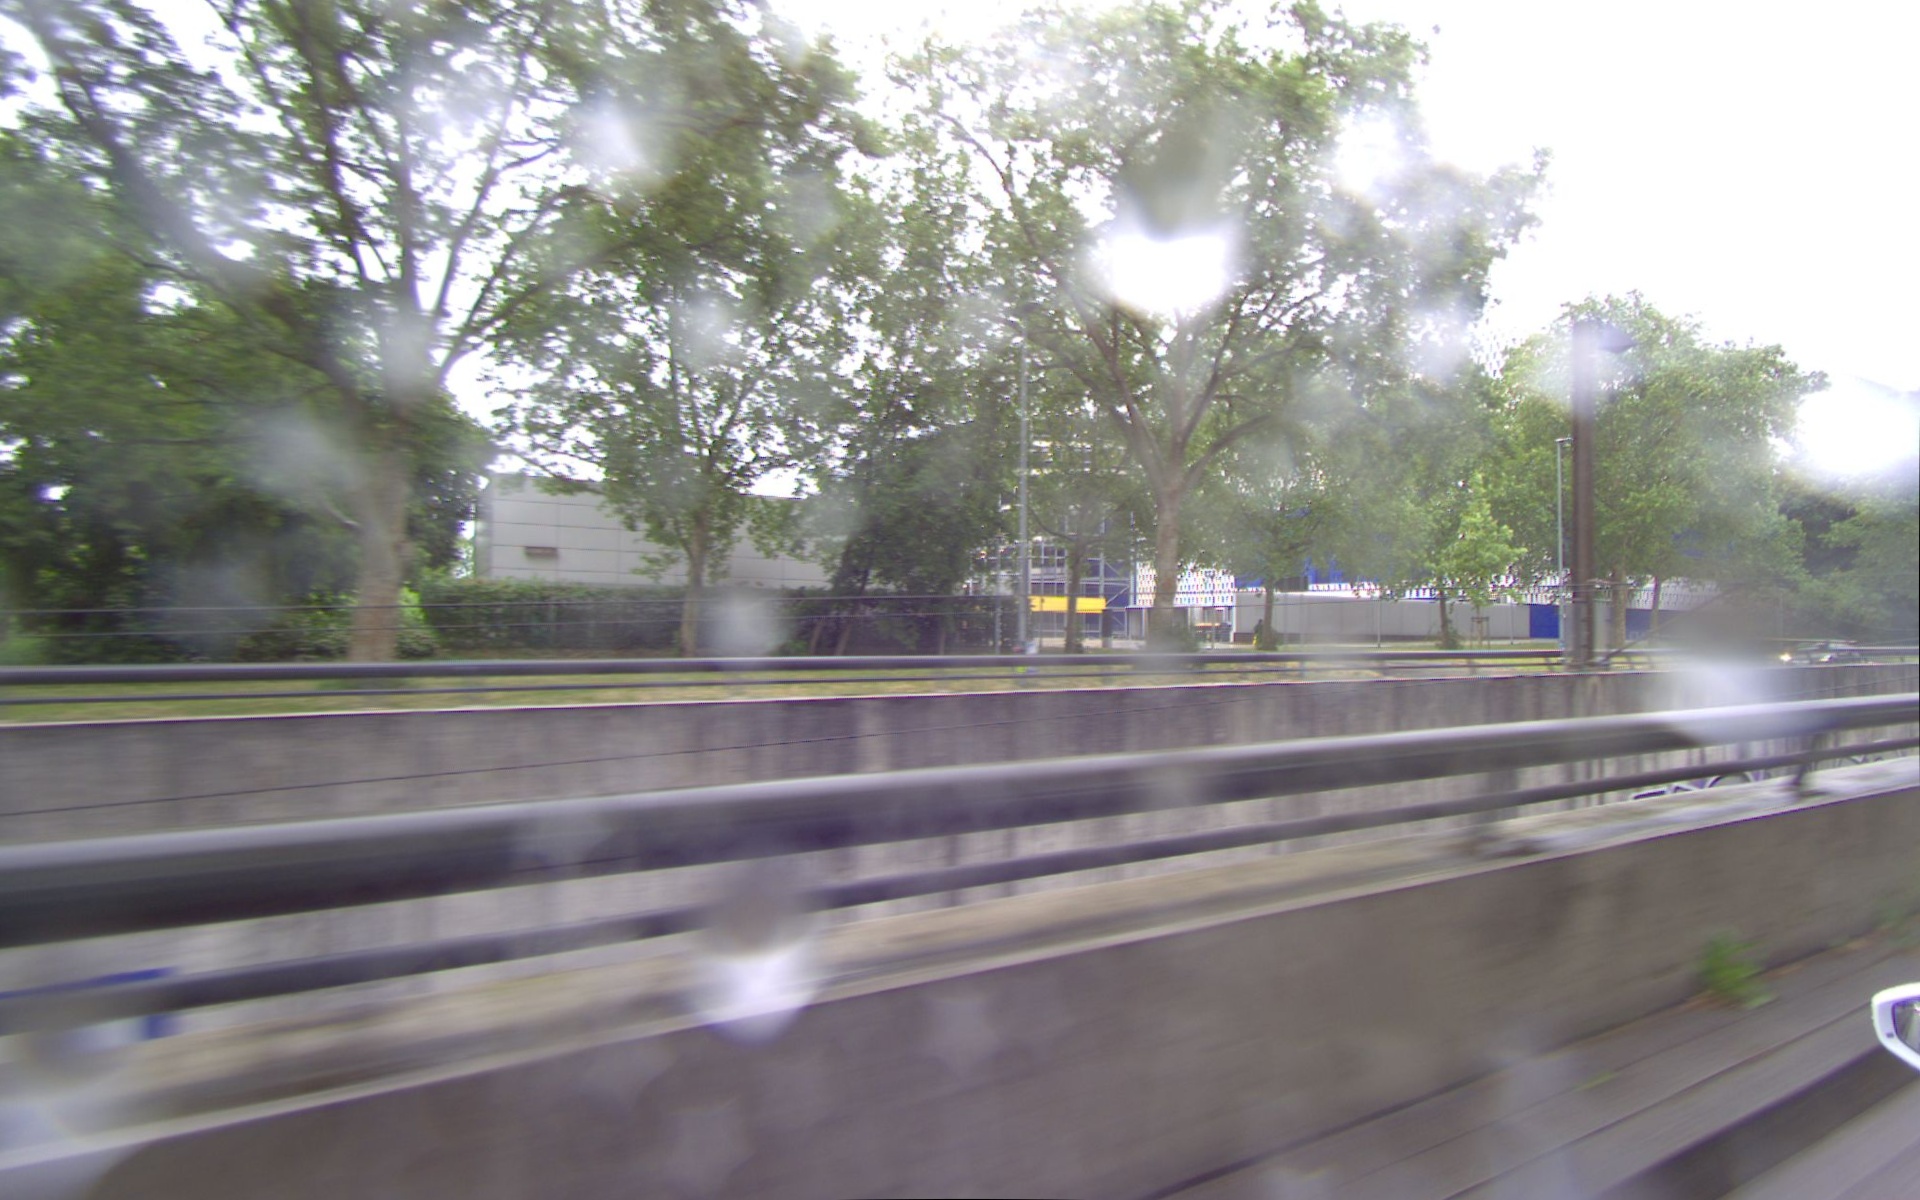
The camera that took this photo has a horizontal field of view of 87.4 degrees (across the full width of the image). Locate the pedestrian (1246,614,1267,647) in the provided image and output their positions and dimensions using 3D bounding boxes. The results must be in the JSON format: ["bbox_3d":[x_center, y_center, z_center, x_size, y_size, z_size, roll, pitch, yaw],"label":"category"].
[{"bbox_3d":[18.700,1.916,63.332,0.780,2.040,0.997,1,0,-28],"label":"pedestrian"}]

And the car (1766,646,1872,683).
[{"bbox_3d":[35.524,2.626,41.538,3.743,1.422,1.988,1,-1,-25],"label":"car"}]
